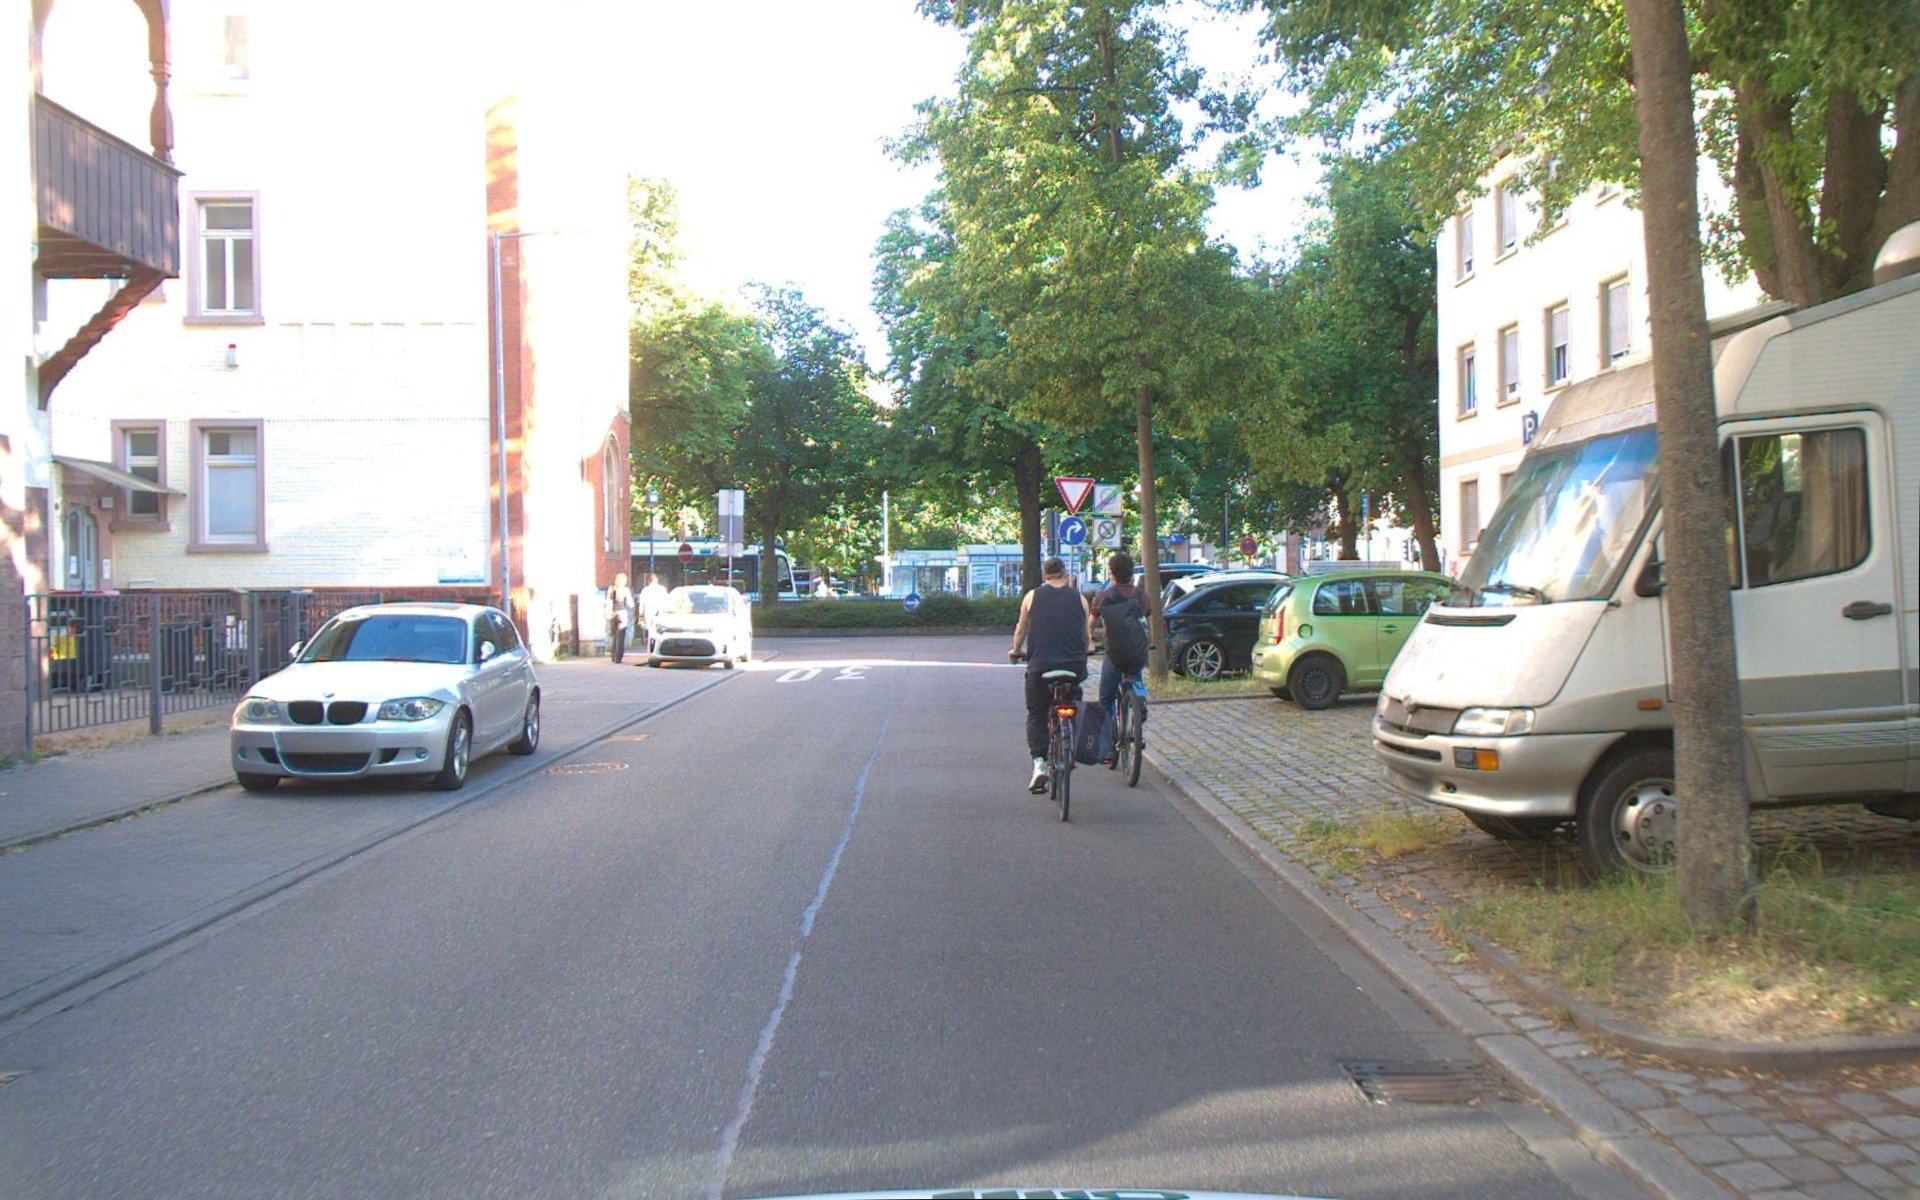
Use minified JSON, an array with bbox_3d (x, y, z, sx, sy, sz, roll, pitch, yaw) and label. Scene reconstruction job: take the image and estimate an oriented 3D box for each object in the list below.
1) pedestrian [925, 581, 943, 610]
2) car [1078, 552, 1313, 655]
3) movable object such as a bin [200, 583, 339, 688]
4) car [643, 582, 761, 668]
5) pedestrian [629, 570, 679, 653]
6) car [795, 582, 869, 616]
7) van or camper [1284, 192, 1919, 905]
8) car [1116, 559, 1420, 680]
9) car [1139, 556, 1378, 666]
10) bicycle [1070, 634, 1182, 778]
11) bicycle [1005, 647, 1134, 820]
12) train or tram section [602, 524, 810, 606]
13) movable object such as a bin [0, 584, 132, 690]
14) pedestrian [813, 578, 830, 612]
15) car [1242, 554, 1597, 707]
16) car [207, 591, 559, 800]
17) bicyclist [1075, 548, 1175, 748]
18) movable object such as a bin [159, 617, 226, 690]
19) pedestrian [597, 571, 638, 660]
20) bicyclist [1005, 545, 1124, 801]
[{"bbox_3d":[-1.409,-0.245,88.170,0.795,1.570,0.818,1,0,-12],"label":"pedestrian"},{"bbox_3d":[4.414,0.040,31.380,4.026,1.742,2.022,-2,1,-5],"label":"car"},{"bbox_3d":[-8.944,0.448,21.472,1.346,1.321,0.969,0,0,9],"label":"movable object such as a bin"},{"bbox_3d":[-4.886,0.432,31.725,1.670,1.511,3.797,1,0,-1],"label":"car"},{"bbox_3d":[-6.253,0.231,33.844,0.849,1.672,0.860,-1,0,-1],"label":"pedestrian"},{"bbox_3d":[-7.518,-0.064,97.241,3.939,1.903,1.983,-1,1,-27],"label":"car"},{"bbox_3d":[5.457,-0.299,8.737,6.936,3.131,2.463,-1,0,-4],"label":"van or camper"},{"bbox_3d":[4.404,0.264,24.091,4.022,1.436,1.792,-4,0,-1],"label":"car"},{"bbox_3d":[4.771,0.166,26.812,3.616,1.680,1.705,-1,0,3],"label":"car"},{"bbox_3d":[1.330,0.826,13.583,0.660,1.072,2.060,-1,-1,-1],"label":"bicycle"},{"bbox_3d":[0.728,0.879,11.577,0.722,1.030,2.061,1,0,-1],"label":"bicycle"},{"bbox_3d":[-10.786,-1.442,70.377,8.304,3.233,2.841,1,0,-24],"label":"train or tram section"},{"bbox_3d":[-11.630,0.469,21.532,1.354,1.340,0.686,0,0,-8],"label":"movable object such as a bin"},{"bbox_3d":[-7.179,-0.277,85.519,0.692,1.724,0.666,1,0,-23],"label":"pedestrian"},{"bbox_3d":[5.115,0.309,18.716,3.516,1.531,1.678,-2,1,0],"label":"car"},{"bbox_3d":[-4.662,0.676,14.011,1.709,1.492,4.101,0,1,-3],"label":"car"},{"bbox_3d":[1.323,0.378,13.423,0.658,1.541,1.069,-1,-1,-1],"label":"bicyclist"},{"bbox_3d":[-9.763,0.673,21.048,0.470,0.894,0.673,0,0,9],"label":"movable object such as a bin"},{"bbox_3d":[-6.405,0.282,30.958,0.587,1.633,0.854,-1,0,-2],"label":"pedestrian"},{"bbox_3d":[0.718,0.486,11.573,0.737,1.711,0.913,-1,0,-1],"label":"bicyclist"}]
